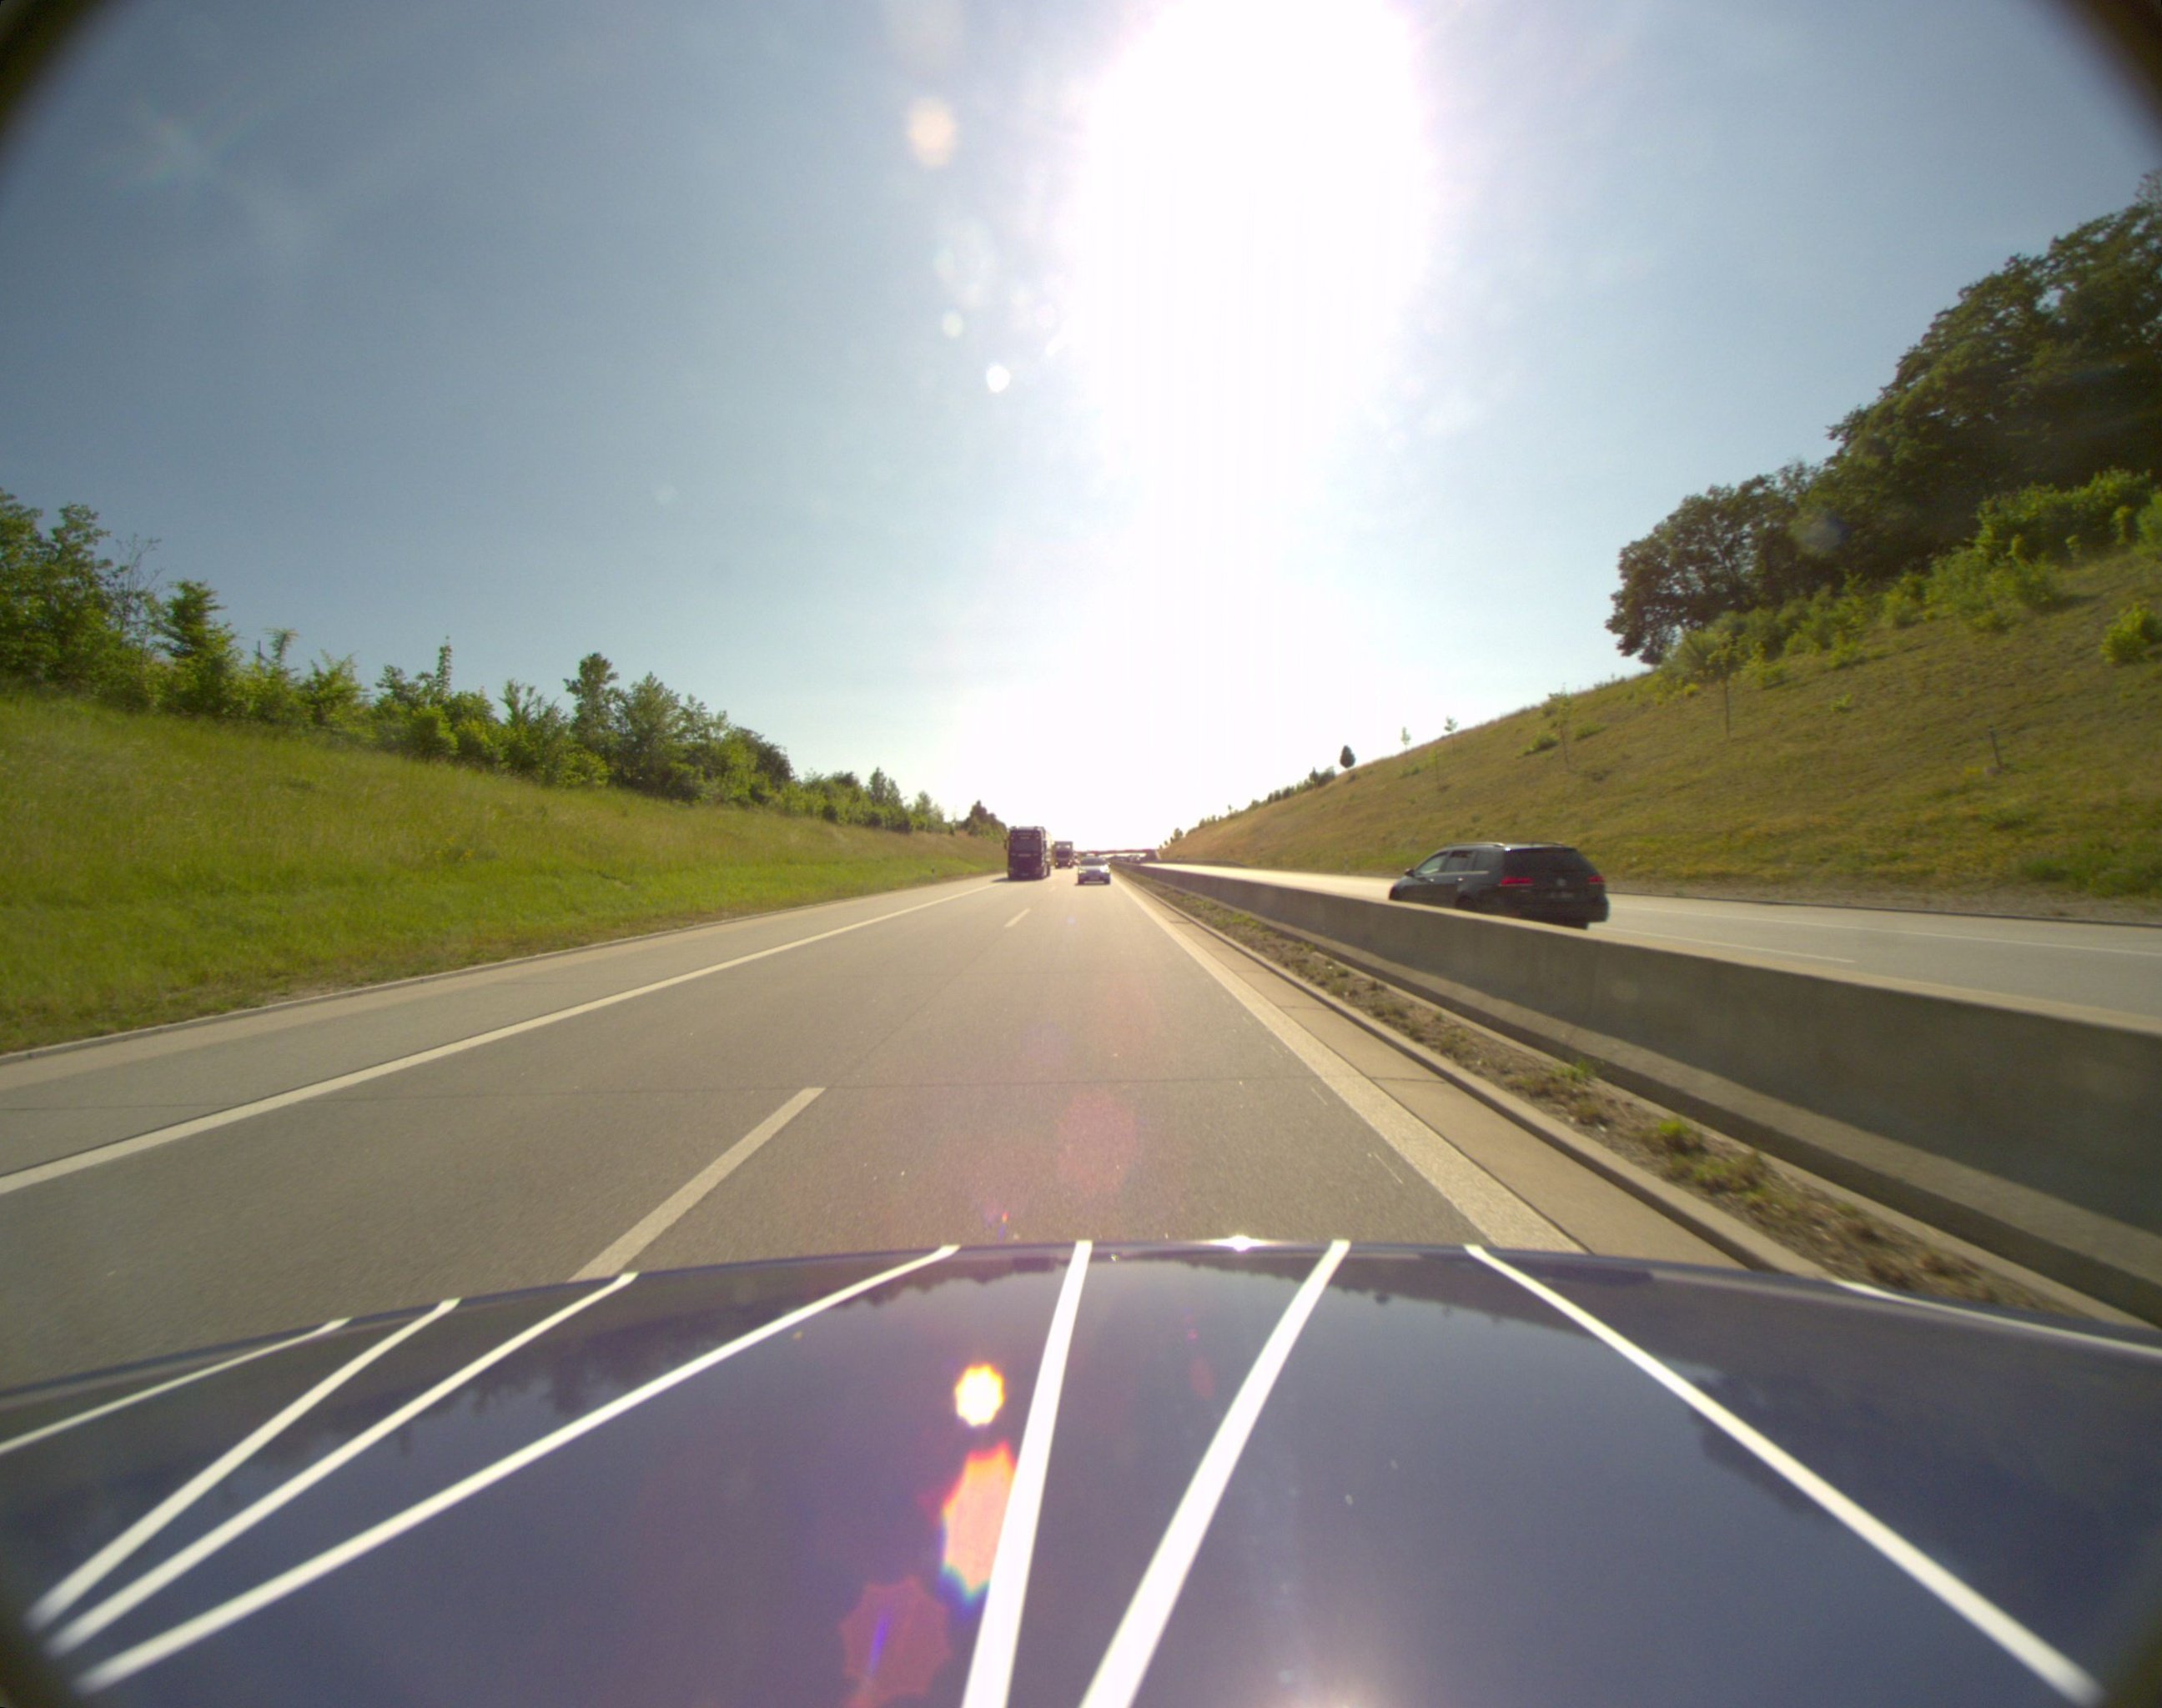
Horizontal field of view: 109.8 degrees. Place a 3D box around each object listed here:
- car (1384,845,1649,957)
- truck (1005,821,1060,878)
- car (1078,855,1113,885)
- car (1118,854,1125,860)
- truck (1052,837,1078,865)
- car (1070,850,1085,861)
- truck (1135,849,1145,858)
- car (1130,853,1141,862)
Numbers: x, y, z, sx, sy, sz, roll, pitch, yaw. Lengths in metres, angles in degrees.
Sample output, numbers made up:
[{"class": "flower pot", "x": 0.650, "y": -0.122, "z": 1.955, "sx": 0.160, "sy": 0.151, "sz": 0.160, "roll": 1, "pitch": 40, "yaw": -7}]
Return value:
[{"class": "car", "x": 6.622, "y": 0.622, "z": 12.184, "sx": 1.778, "sy": 1.440, "sz": 4.183, "roll": -2, "pitch": 0, "yaw": -1}, {"class": "truck", "x": -3.529, "y": -0.322, "z": 58.981, "sx": 2.623, "sy": 3.795, "sz": 13.405, "roll": -3, "pitch": 0, "yaw": 2}, {"class": "car", "x": 0.856, "y": 0.882, "z": 43.436, "sx": 1.795, "sy": 1.501, "sz": 3.636, "roll": -3, "pitch": 0, "yaw": 3}, {"class": "car", "x": 12.132, "y": 0.896, "z": 226.466, "sx": 1.858, "sy": 1.453, "sz": 4.333, "roll": -1, "pitch": 0, "yaw": 1}, {"class": "truck", "x": -2.270, "y": -0.417, "z": 113.429, "sx": 3.024, "sy": 3.795, "sz": 13.405, "roll": -1, "pitch": 0, "yaw": 2}, {"class": "car", "x": -0.655, "y": 0.272, "z": 153.917, "sx": 2.815, "sy": 2.143, "sz": 5.947, "roll": -1, "pitch": 0, "yaw": 0}, {"class": "truck", "x": 15.921, "y": -0.124, "z": 205.708, "sx": 2.118, "sy": 2.446, "sz": 5.951, "roll": -1, "pitch": 0, "yaw": 0}, {"class": "car", "x": 10.207, "y": 0.702, "z": 143.195, "sx": 1.780, "sy": 1.592, "sz": 4.039, "roll": -1, "pitch": 0, "yaw": 1}]
